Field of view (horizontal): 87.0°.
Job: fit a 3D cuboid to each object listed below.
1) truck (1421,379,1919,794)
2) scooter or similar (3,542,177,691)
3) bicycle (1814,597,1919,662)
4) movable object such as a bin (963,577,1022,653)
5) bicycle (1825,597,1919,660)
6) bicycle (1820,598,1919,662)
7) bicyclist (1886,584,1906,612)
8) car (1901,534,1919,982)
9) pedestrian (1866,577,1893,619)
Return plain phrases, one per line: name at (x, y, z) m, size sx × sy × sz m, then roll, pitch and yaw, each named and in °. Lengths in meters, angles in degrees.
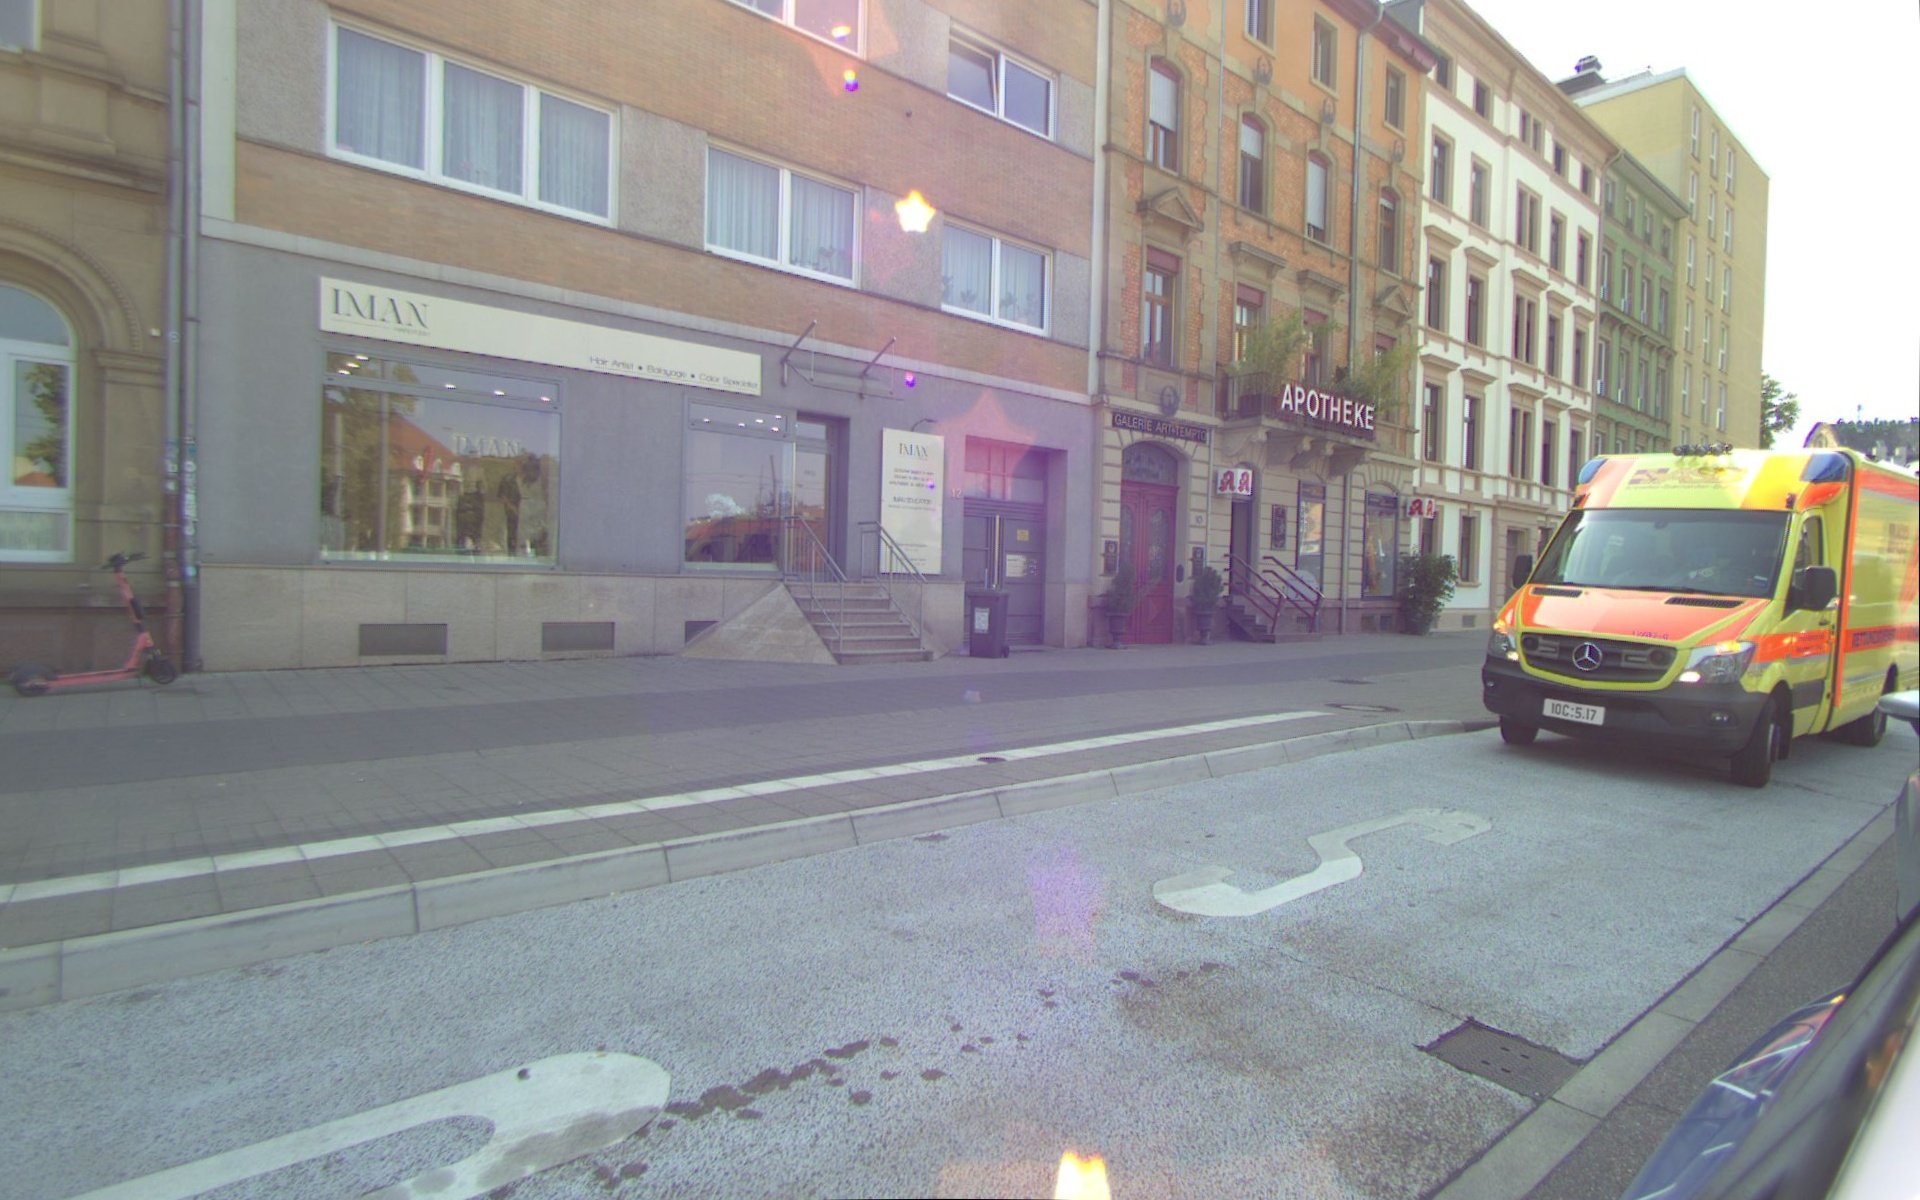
truck at (7.210, -0.169, 9.644) m, size 6.221 × 2.803 × 2.336 m, roll 0°, pitch 4°, yaw -37°
scooter or similar at (-7.634, 0.125, 8.907) m, size 0.476 × 1.227 × 1.124 m, roll 3°, pitch 2°, yaw 45°
bicycle at (17.991, 0.559, 19.850) m, size 0.427 × 1.219 × 1.841 m, roll 1°, pitch 0°, yaw -39°
movable object such as a bin at (0.508, 0.215, 15.655) m, size 0.640 × 1.118 × 0.723 m, roll 3°, pitch 2°, yaw 24°
bicycle at (18.675, 0.563, 20.408) m, size 0.427 × 1.235 × 1.841 m, roll 1°, pitch 0°, yaw -39°
bicycle at (18.328, 0.575, 20.116) m, size 0.427 × 1.219 × 1.841 m, roll 1°, pitch 0°, yaw -39°
bicyclist at (54.910, -0.108, 59.363) m, size 1.083 × 1.606 × 0.721 m, roll 1°, pitch 1°, yaw -40°
car at (5.470, 0.583, 4.275) m, size 3.929 × 1.608 × 1.728 m, roll 0°, pitch 1°, yaw -40°
pedestrian at (37.055, -0.081, 40.780) m, size 0.783 × 1.648 × 0.645 m, roll 0°, pitch 2°, yaw -42°
